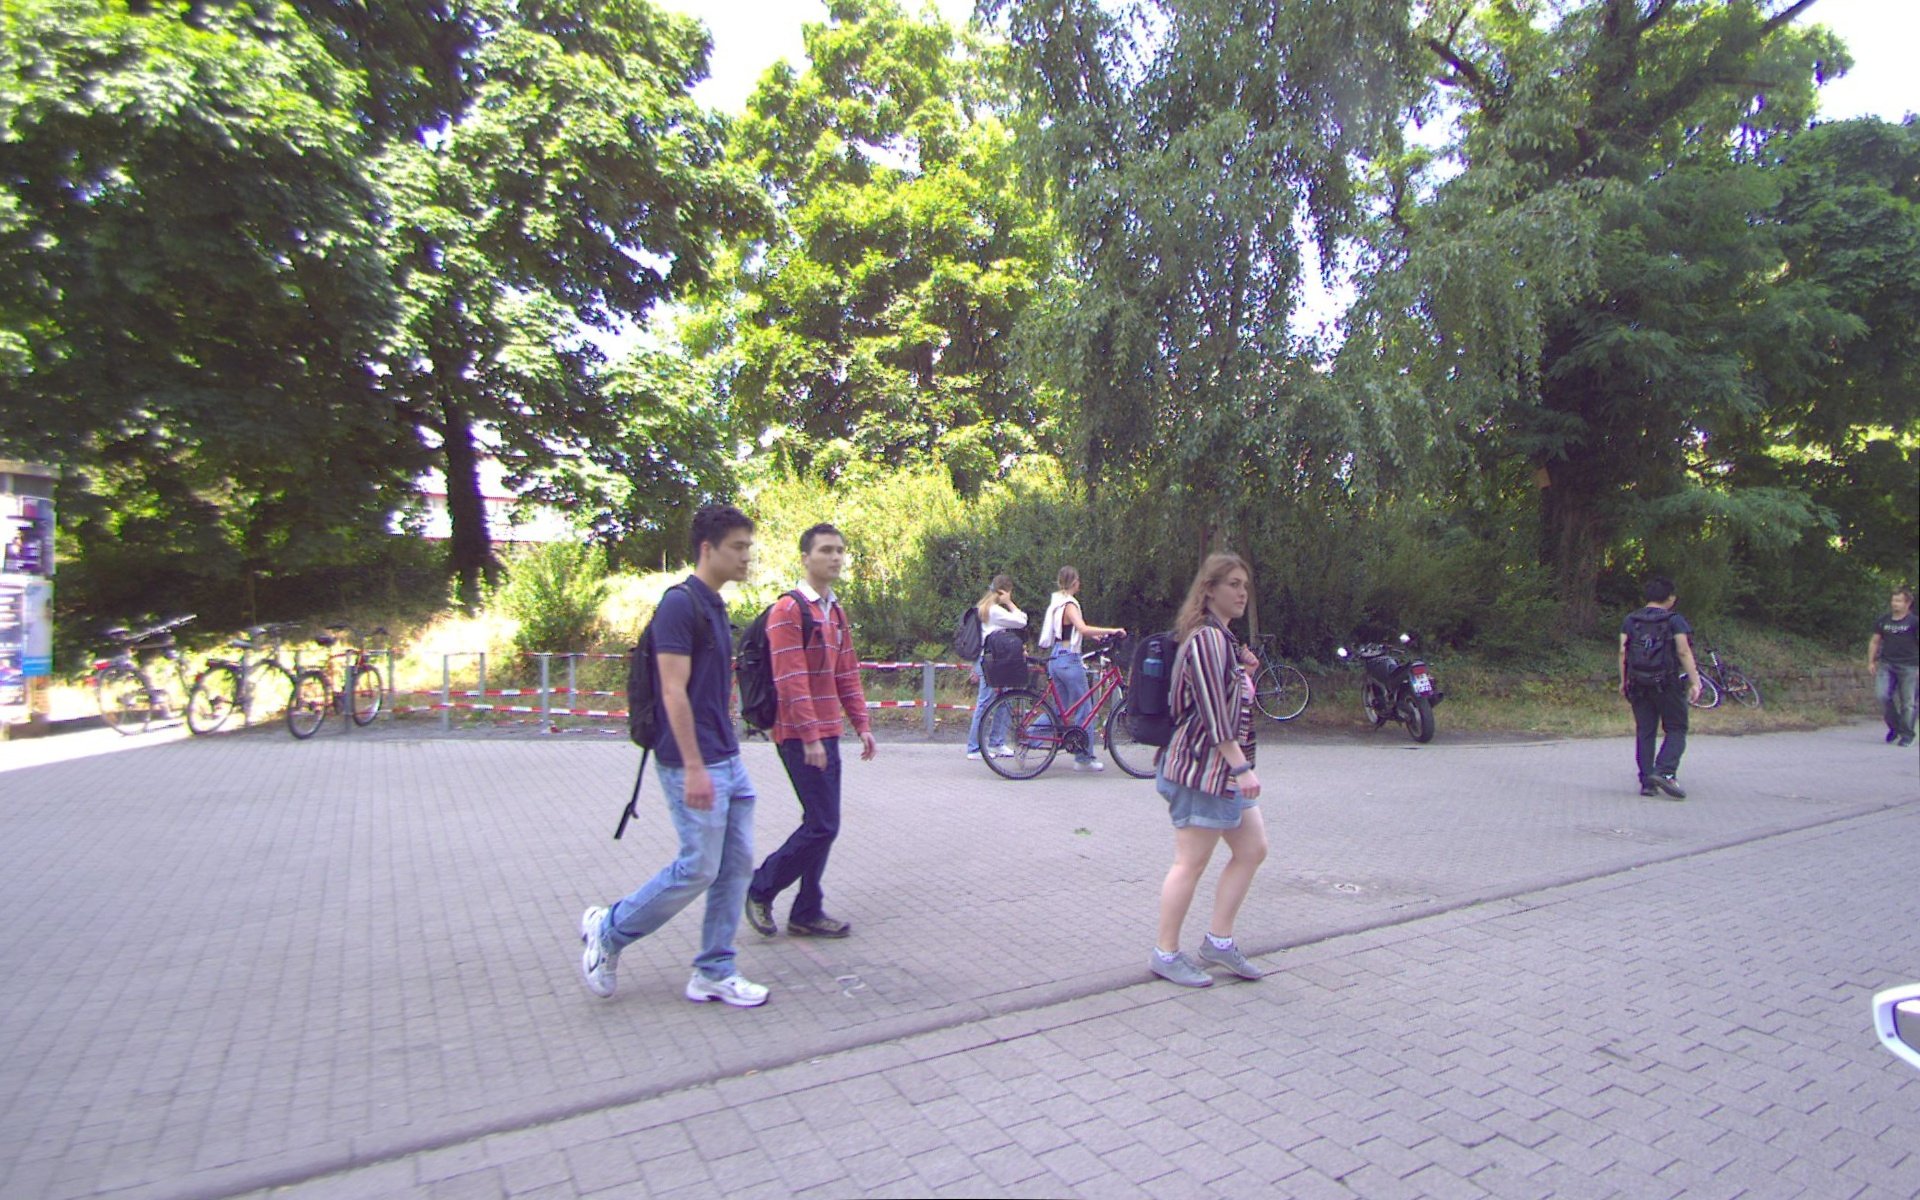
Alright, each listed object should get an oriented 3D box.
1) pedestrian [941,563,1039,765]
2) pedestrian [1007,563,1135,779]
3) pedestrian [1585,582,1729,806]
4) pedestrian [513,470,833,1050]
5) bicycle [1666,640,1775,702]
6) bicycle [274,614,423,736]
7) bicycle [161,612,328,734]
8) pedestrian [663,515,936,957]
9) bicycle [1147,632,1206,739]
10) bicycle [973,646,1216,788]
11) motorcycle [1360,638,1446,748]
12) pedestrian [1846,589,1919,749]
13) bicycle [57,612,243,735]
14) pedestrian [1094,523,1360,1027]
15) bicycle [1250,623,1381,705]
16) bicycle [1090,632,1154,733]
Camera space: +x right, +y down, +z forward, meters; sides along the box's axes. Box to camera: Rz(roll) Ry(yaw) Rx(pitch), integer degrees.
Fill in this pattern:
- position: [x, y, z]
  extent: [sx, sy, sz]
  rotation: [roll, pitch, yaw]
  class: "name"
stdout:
- position: [0.283, 0.559, 9.154]
  extent: [0.673, 1.747, 0.731]
  rotation: [-1, -1, 23]
  class: "pedestrian"
- position: [0.931, 0.581, 8.562]
  extent: [0.921, 1.747, 0.676]
  rotation: [0, -1, -12]
  class: "pedestrian"
- position: [5.804, 0.736, 8.367]
  extent: [0.894, 1.747, 0.680]
  rotation: [1, 0, -33]
  class: "pedestrian"
- position: [-0.977, 0.521, 3.596]
  extent: [0.922, 1.859, 0.686]
  rotation: [0, -1, 3]
  class: "pedestrian"
- position: [12.043, 1.124, 15.902]
  extent: [1.712, 0.922, 0.421]
  rotation: [3, -1, -16]
  class: "bicycle"
- position: [-6.188, 0.713, 10.273]
  extent: [0.465, 1.125, 1.777]
  rotation: [1, -1, -2]
  class: "bicycle"
- position: [-7.242, 0.695, 10.274]
  extent: [0.465, 1.125, 1.777]
  rotation: [1, -1, -2]
  class: "bicycle"
- position: [-0.649, 0.544, 4.350]
  extent: [1.043, 1.747, 0.719]
  rotation: [0, -1, 2]
  class: "pedestrian"
- position: [2.529, 0.944, 11.627]
  extent: [0.465, 1.061, 1.700]
  rotation: [2, 1, 18]
  class: "bicycle"
- position: [1.086, 0.946, 8.221]
  extent: [1.874, 1.061, 0.541]
  rotation: [1, 2, -10]
  class: "bicycle"
- position: [5.055, 1.012, 11.562]
  extent: [0.464, 1.061, 2.027]
  rotation: [1, 1, 12]
  class: "motorcycle"
- position: [11.680, 0.837, 12.541]
  extent: [1.110, 1.897, 0.678]
  rotation: [2, -1, -36]
  class: "pedestrian"
- position: [-8.101, 0.688, 10.149]
  extent: [0.465, 1.125, 1.777]
  rotation: [1, -1, -2]
  class: "bicycle"
- position: [1.041, 0.610, 3.961]
  extent: [0.723, 1.747, 0.680]
  rotation: [1, 0, -33]
  class: "pedestrian"
- position: [4.941, 0.888, 13.972]
  extent: [1.669, 1.061, 0.473]
  rotation: [2, 1, -10]
  class: "bicycle"
- position: [1.917, 0.917, 11.724]
  extent: [0.465, 1.061, 1.700]
  rotation: [1, -1, 18]
  class: "bicycle"
